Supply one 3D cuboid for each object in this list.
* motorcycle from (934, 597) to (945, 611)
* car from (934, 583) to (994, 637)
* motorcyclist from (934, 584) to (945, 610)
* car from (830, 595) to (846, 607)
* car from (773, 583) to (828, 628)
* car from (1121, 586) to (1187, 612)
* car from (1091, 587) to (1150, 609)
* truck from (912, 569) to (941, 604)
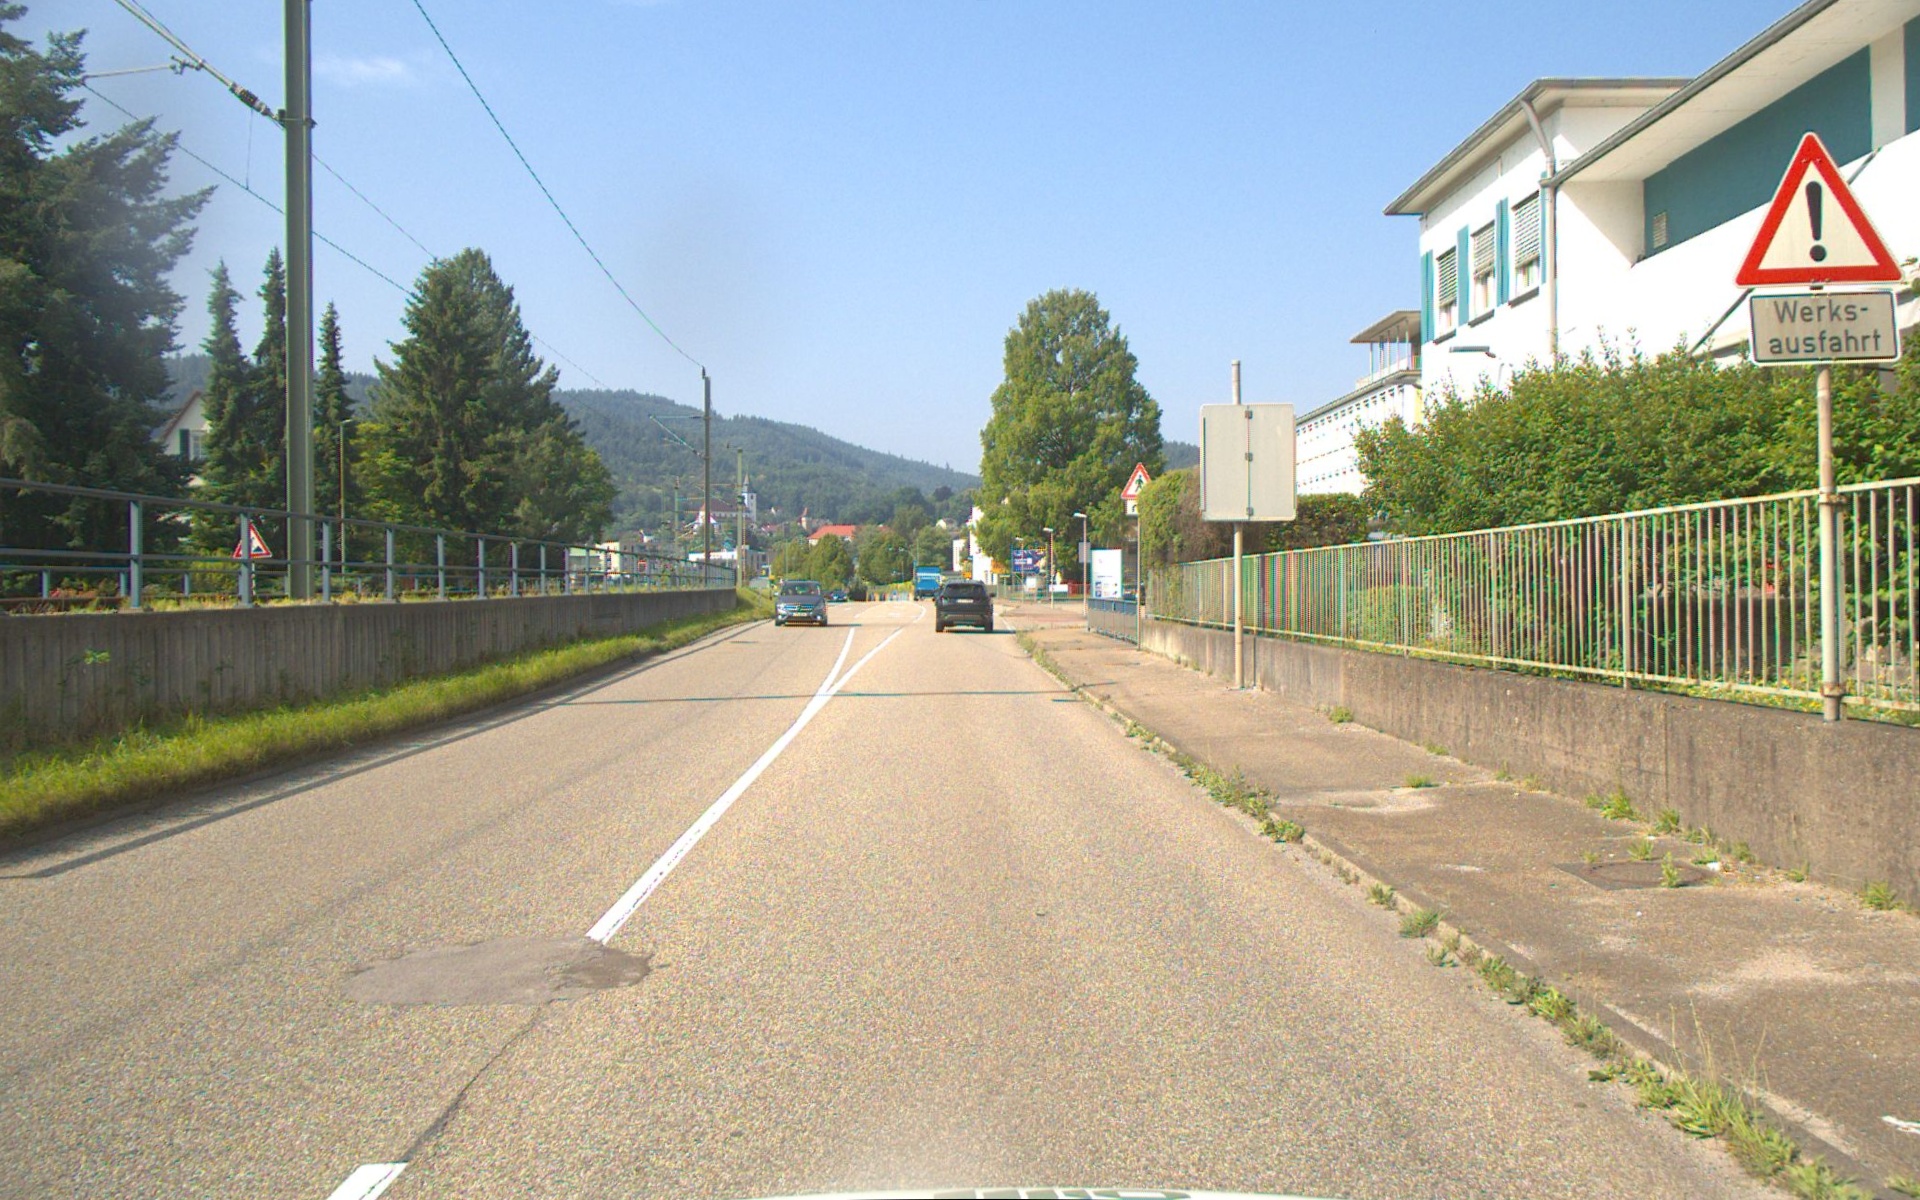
[{"bbox_3d":[-1.194,0.234,97.042,0.594,0.766,1.414,-1,0,-1],"label":"motorcycle"},{"bbox_3d":[0.140,0.309,53.683,1.880,1.668,4.000,0,0,0],"label":"car"},{"bbox_3d":[-1.210,-0.188,97.055,0.594,1.547,0.863,-1,0,-2],"label":"motorcyclist"},{"bbox_3d":[-14.192,0.118,192.657,1.720,1.454,3.997,0,0,-4],"label":"car"},{"bbox_3d":[-5.596,0.177,58.443,1.707,1.533,4.197,0,0,-3],"label":"car"},{"bbox_3d":[13.074,-0.092,111.383,4.117,1.701,1.850,-1,0,-31],"label":"car"},{"bbox_3d":[11.128,-0.141,114.511,3.949,1.425,1.646,-1,0,-32],"label":"car"},{"bbox_3d":[-3.024,-1.172,147.076,2.267,3.022,5.961,-1,1,-4],"label":"truck"}]
